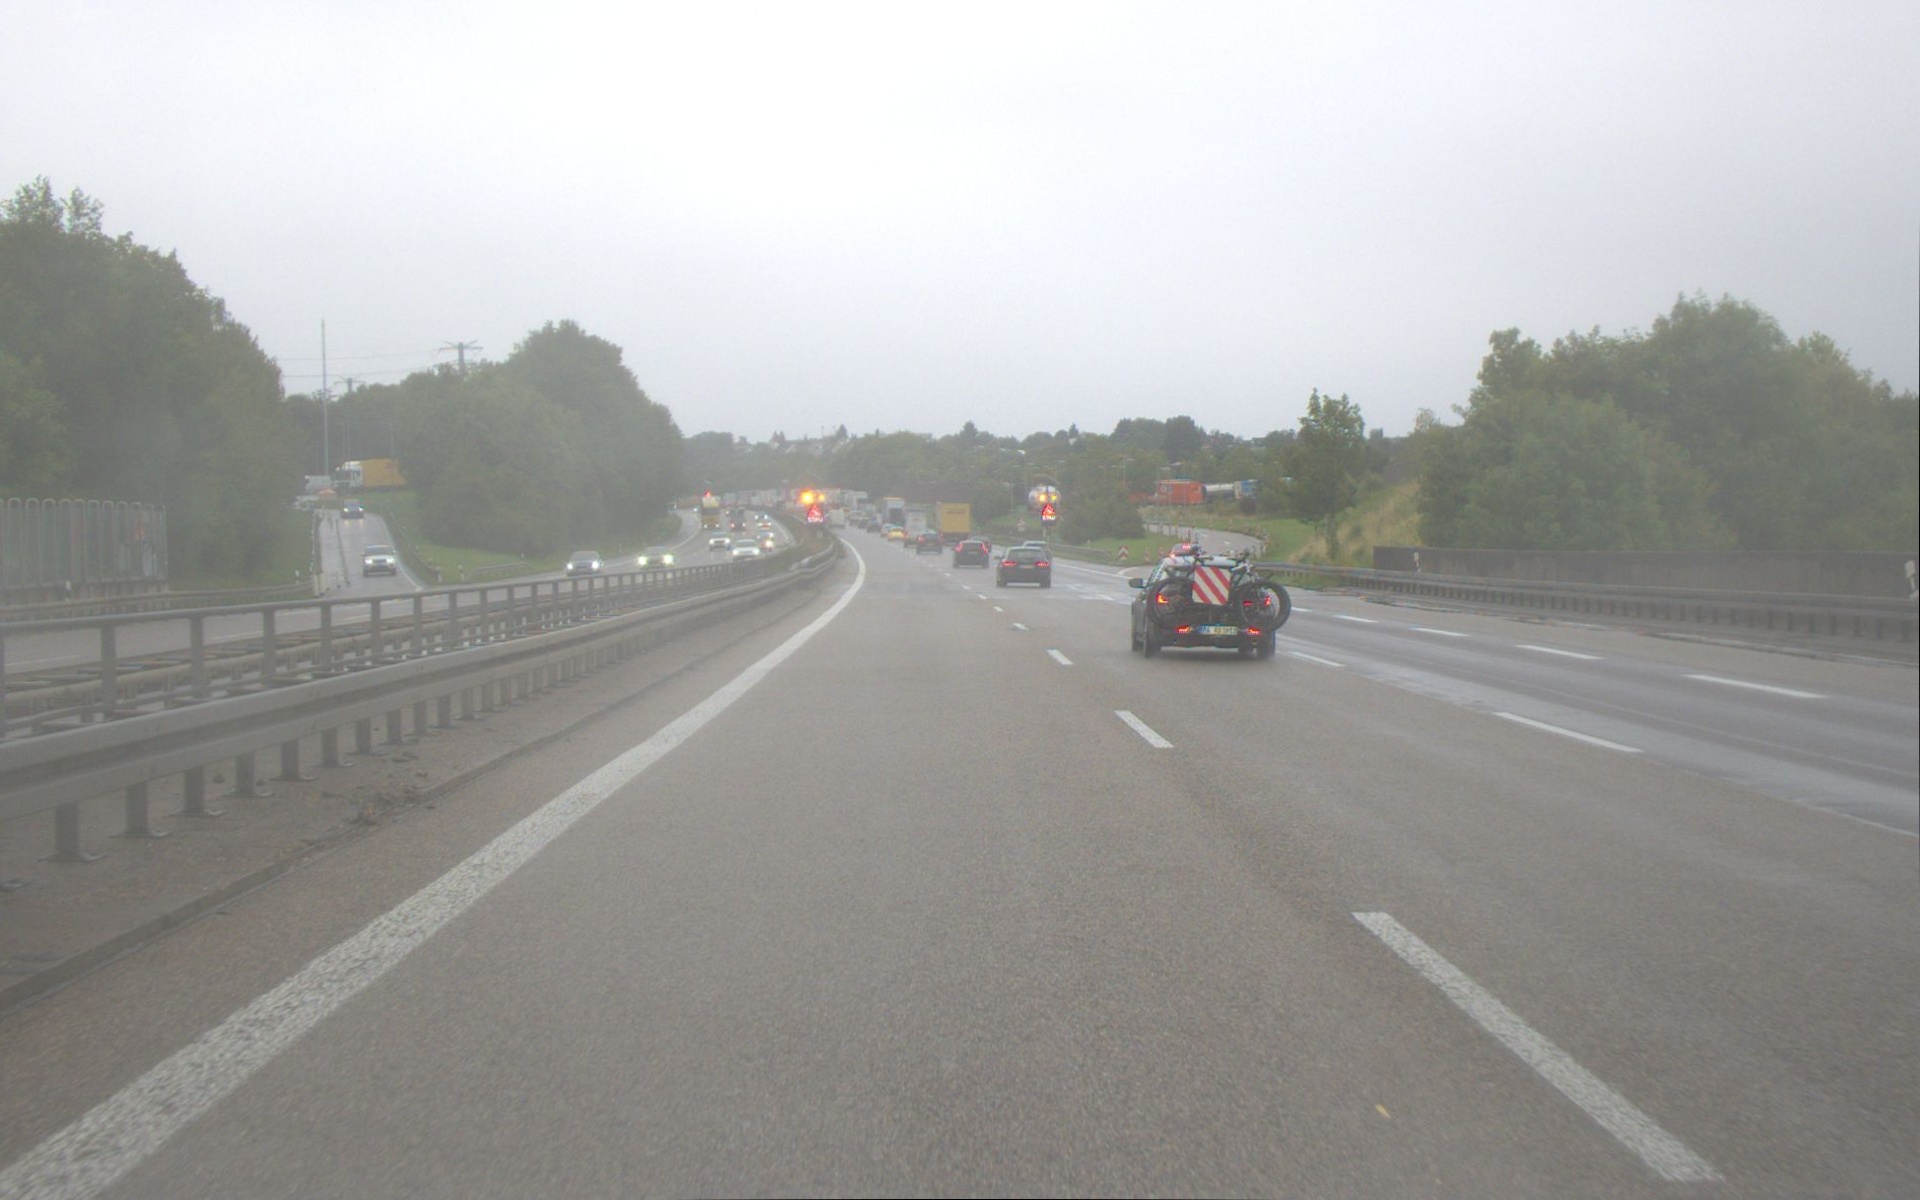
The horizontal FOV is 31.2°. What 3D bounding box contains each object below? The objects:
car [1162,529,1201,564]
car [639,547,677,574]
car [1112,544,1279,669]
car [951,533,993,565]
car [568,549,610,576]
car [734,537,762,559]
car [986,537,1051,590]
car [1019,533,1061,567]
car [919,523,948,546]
[{"bbox_3d":[11.332,-2.745,175.907,1.922,1.703,4.000,-1,1,4],"label":"car"},{"bbox_3d":[-17.153,-2.268,195.440,1.816,1.432,4.089,-2,1,-1],"label":"car"},{"bbox_3d":[3.283,0.059,48.917,2.058,1.665,5.522,0,1,1],"label":"car"},{"bbox_3d":[0.636,-2.748,184.129,1.993,1.623,4.001,-1,2,-3],"label":"car"},{"bbox_3d":[-19.986,-2.023,185.213,1.816,1.384,4.089,-2,1,-1],"label":"car"},{"bbox_3d":[-14.229,-3.485,230.750,1.656,1.432,4.089,-2,1,-1],"label":"car"},{"bbox_3d":[2.033,-1.309,120.922,1.993,1.755,4.001,-1,2,-3],"label":"car"},{"bbox_3d":[4.369,-2.743,188.022,1.993,1.755,4.001,-1,2,-3],"label":"car"},{"bbox_3d":[-2.030,-4.958,258.696,1.993,1.623,4.001,-1,2,-3],"label":"car"}]
